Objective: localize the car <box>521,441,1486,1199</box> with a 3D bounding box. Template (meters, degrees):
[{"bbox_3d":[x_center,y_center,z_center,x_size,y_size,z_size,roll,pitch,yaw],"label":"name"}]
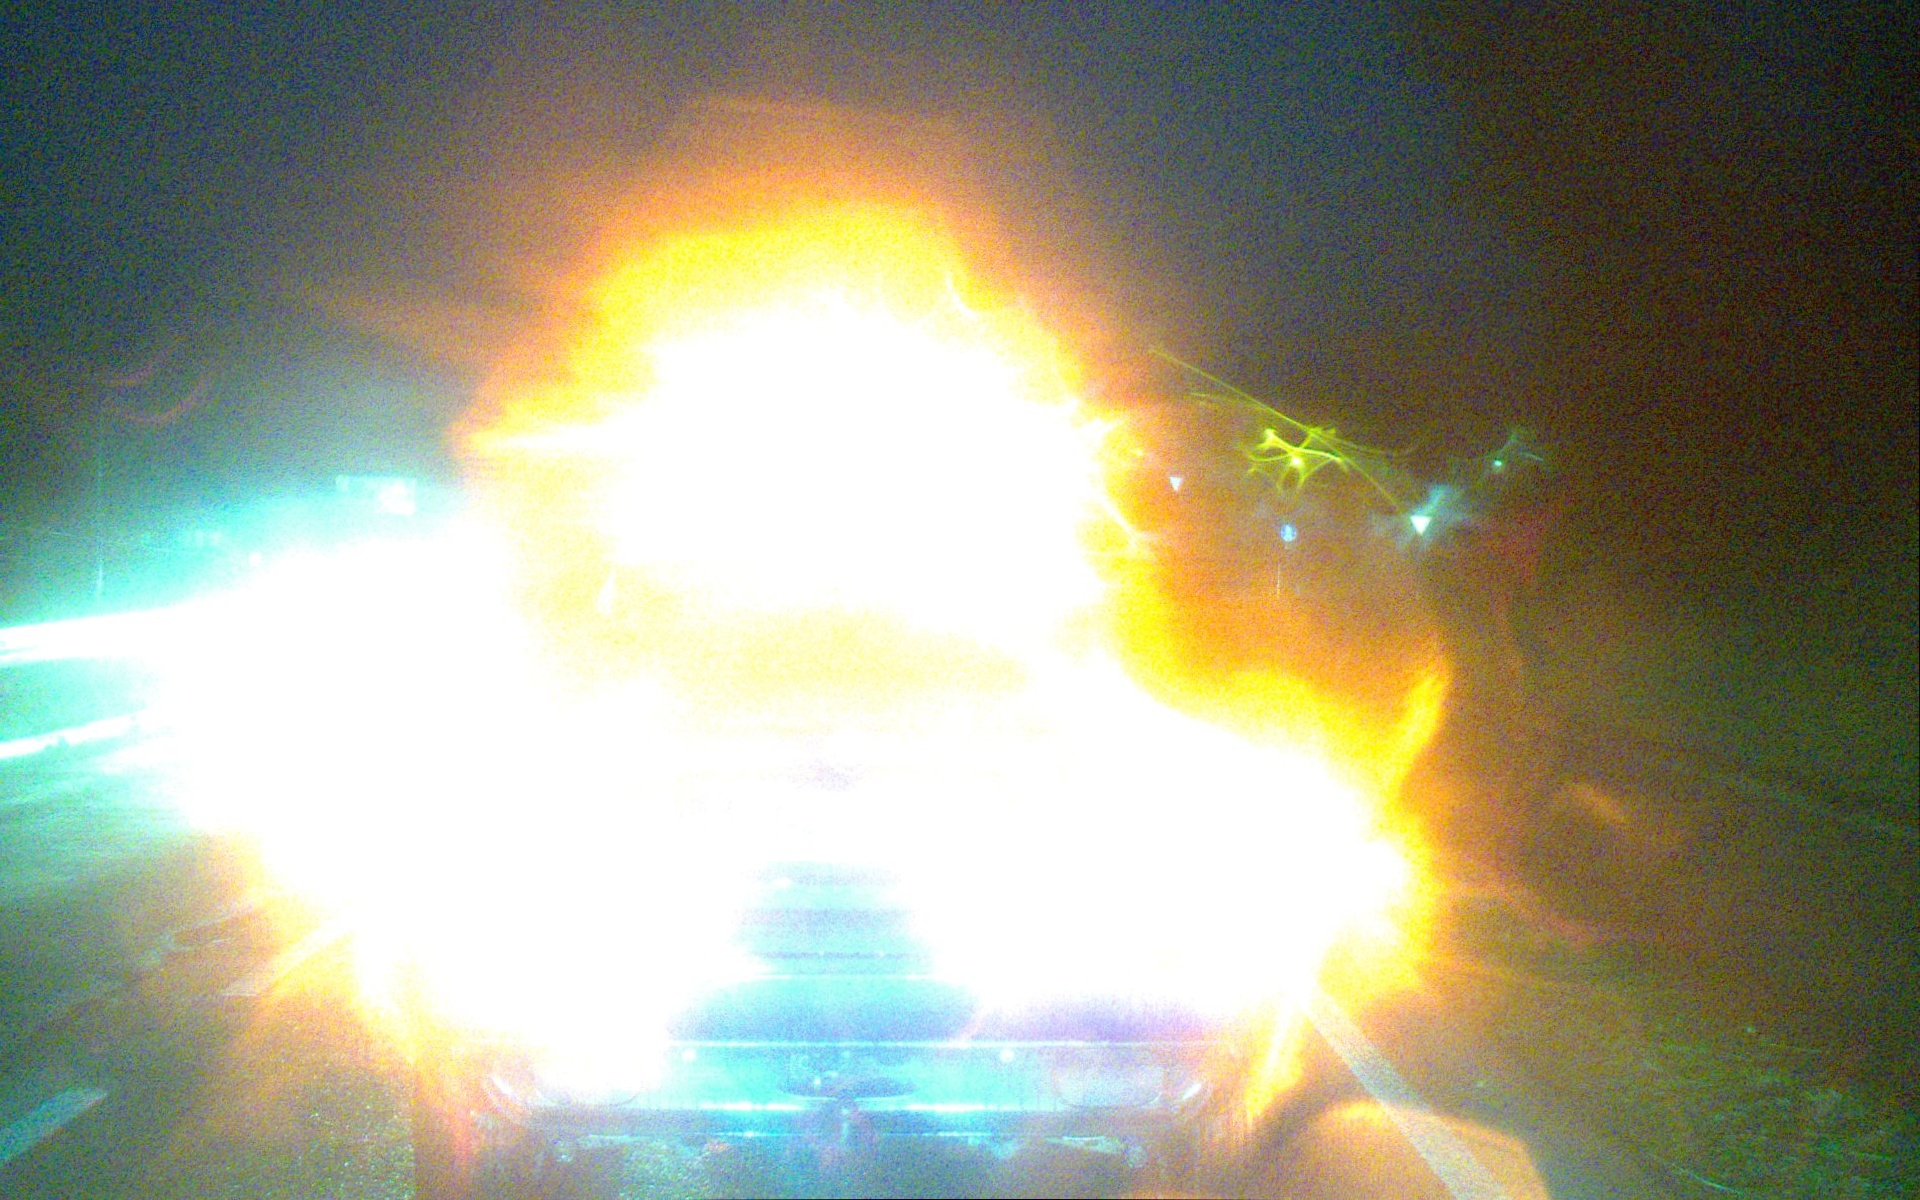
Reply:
[{"bbox_3d":[0.072,0.525,8.393,1.775,1.706,4.000,1,1,0],"label":"car"}]

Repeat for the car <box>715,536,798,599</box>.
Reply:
[{"bbox_3d":[-5.113,-0.833,86.909,1.903,1.465,4.275,2,1,-2],"label":"car"}]

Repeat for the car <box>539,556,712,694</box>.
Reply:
[{"bbox_3d":[-4.235,0.278,44.018,1.951,1.650,4.125,-1,1,-2],"label":"car"}]

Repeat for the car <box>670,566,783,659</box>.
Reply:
[{"bbox_3d":[-4.186,0.194,62.214,1.837,1.540,4.257,1,1,-1],"label":"car"}]
